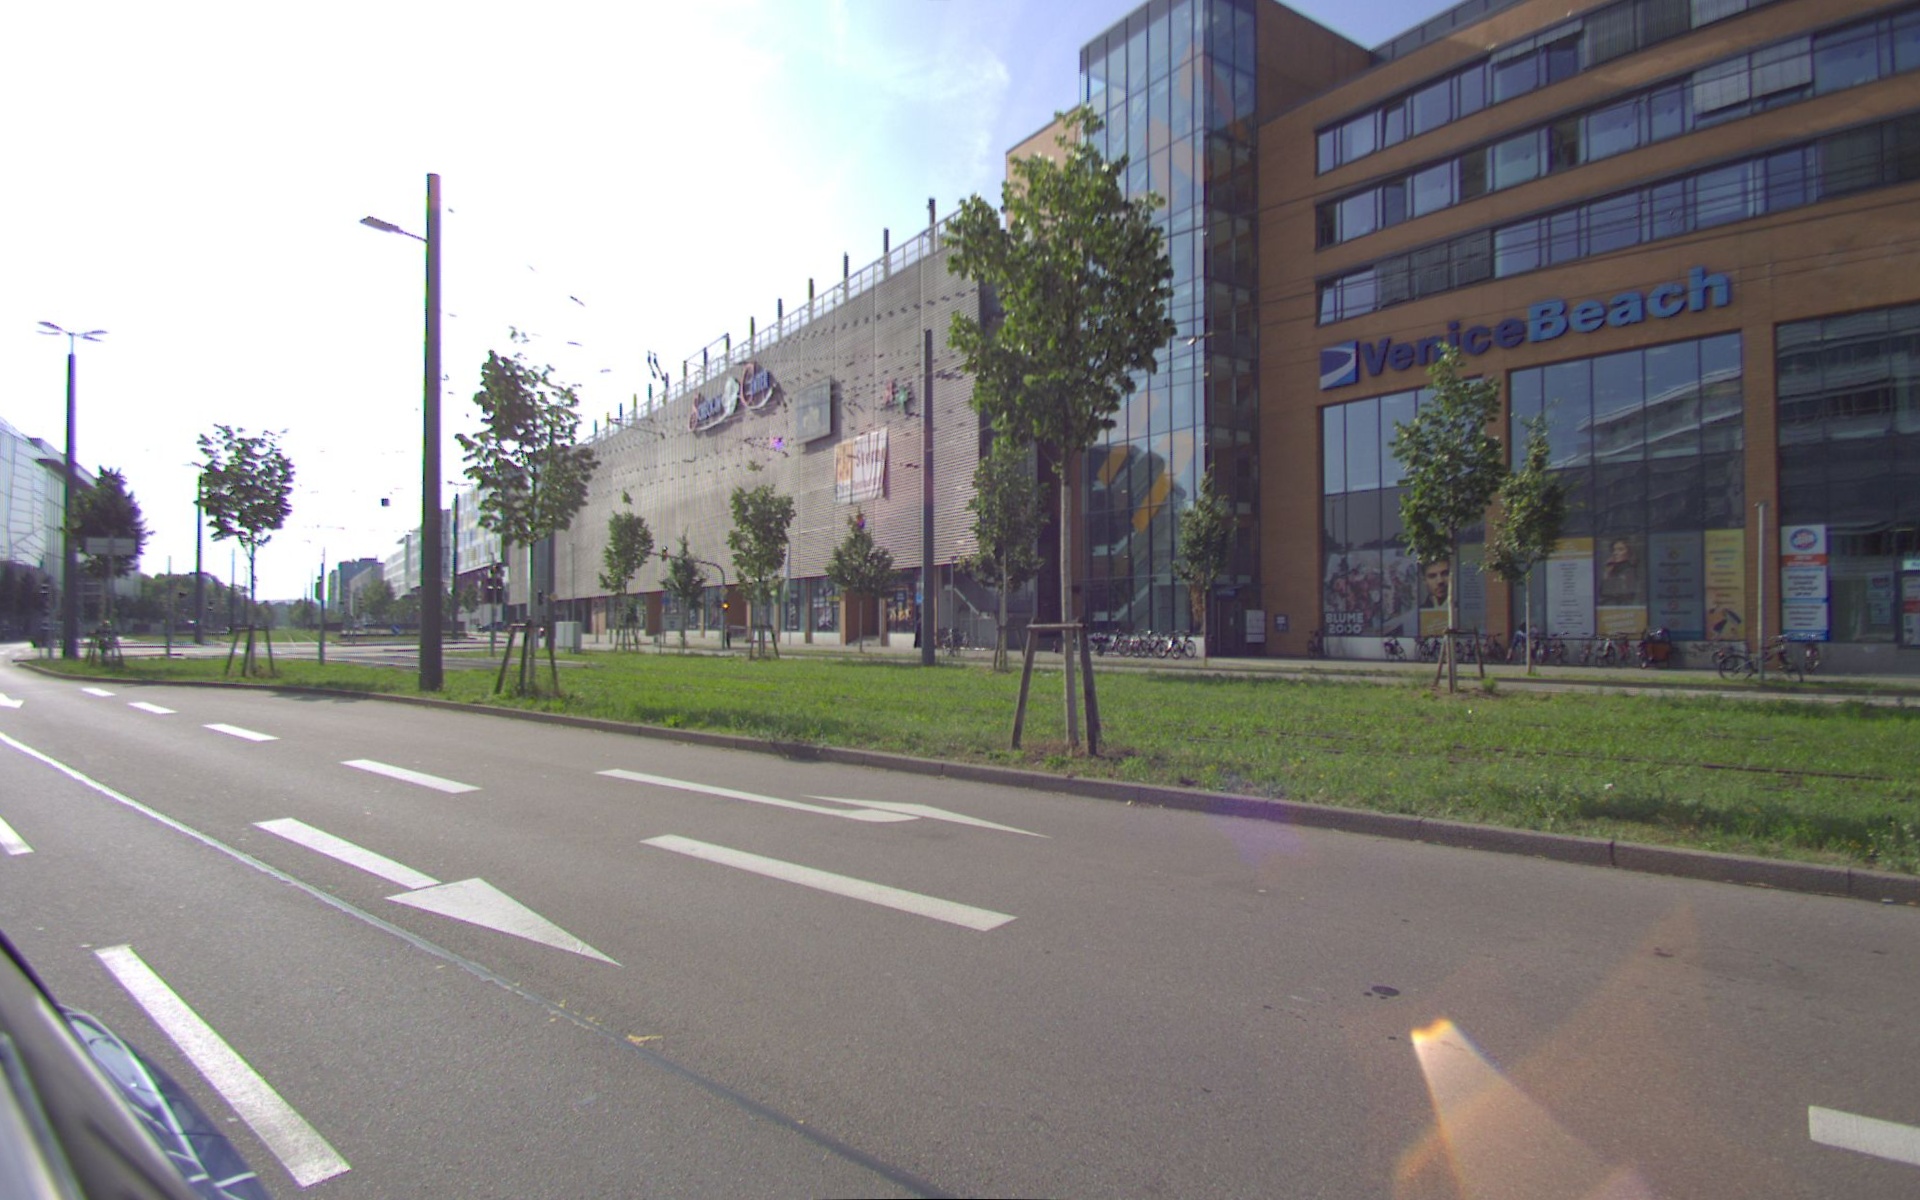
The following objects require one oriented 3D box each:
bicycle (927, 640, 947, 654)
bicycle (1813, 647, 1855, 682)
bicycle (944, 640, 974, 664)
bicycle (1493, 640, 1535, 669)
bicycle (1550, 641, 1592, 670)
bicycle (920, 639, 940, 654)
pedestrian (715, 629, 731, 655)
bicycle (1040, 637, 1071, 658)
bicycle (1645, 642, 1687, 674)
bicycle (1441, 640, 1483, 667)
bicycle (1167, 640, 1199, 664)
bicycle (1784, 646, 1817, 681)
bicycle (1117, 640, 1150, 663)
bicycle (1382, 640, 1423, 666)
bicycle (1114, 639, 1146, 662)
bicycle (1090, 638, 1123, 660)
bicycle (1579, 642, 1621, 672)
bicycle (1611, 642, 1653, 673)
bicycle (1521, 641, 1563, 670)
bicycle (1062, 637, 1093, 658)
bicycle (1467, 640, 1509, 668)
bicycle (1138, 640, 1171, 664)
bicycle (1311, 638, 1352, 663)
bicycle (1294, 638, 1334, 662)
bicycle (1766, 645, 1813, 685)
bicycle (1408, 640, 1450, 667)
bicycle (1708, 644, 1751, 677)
[{"bbox_3d":[-1.219,2.529,54.357,0.989,0.758,0.453,1,-2,-34],"label":"bicycle"},{"bbox_3d":[24.880,1.826,28.803,2.022,0.928,0.574,1,-2,-40],"label":"bicycle"},{"bbox_3d":[-0.073,2.339,45.991,0.438,0.995,2.171,1,-1,-26],"label":"bicycle"},{"bbox_3d":[19.232,1.885,35.143,2.022,0.928,0.574,1,-2,-40],"label":"bicycle"},{"bbox_3d":[20.438,1.848,33.831,2.022,0.928,0.574,1,-2,-40],"label":"bicycle"},{"bbox_3d":[-1.609,2.529,54.967,0.989,0.758,0.453,1,-2,-34],"label":"bicycle"},{"bbox_3d":[-14.350,2.541,61.303,0.751,1.591,0.591,1,-2,-39],"label":"pedestrian"},{"bbox_3d":[4.484,2.225,47.406,1.558,0.947,0.412,1,-2,-36],"label":"bicycle"},{"bbox_3d":[22.251,1.819,31.890,2.022,0.928,0.574,1,-2,-40],"label":"bicycle"},{"bbox_3d":[18.080,1.909,36.413,2.022,0.928,0.574,1,-2,-40],"label":"bicycle"},{"bbox_3d":[9.266,2.145,41.963,1.559,0.947,0.412,1,-2,-39],"label":"bicycle"},{"bbox_3d":[24.377,1.823,29.342,2.022,0.928,0.381,1,-2,-40],"label":"bicycle"},{"bbox_3d":[7.441,2.212,43.359,1.558,0.947,0.412,1,-2,-36],"label":"bicycle"},{"bbox_3d":[16.641,1.968,38.031,2.022,0.928,0.574,1,-2,-40],"label":"bicycle"},{"bbox_3d":[7.463,2.207,44.324,1.558,0.947,0.412,1,-2,-36],"label":"bicycle"},{"bbox_3d":[6.559,2.191,45.389,1.558,0.947,0.474,1,-2,-36],"label":"bicycle"},{"bbox_3d":[21.005,1.845,33.182,2.022,0.928,0.574,1,-2,-40],"label":"bicycle"},{"bbox_3d":[21.631,1.848,32.546,2.022,0.928,0.574,1,-2,-40],"label":"bicycle"},{"bbox_3d":[19.826,1.889,34.439,2.022,0.928,0.574,1,-2,-40],"label":"bicycle"},{"bbox_3d":[5.445,2.197,46.829,1.558,0.947,0.412,1,-2,-38],"label":"bicycle"},{"bbox_3d":[18.686,1.899,35.784,2.022,0.928,0.574,1,-2,-40],"label":"bicycle"},{"bbox_3d":[8.095,2.156,42.092,1.558,0.947,0.412,1,-2,-36],"label":"bicycle"},{"bbox_3d":[14.825,1.998,40.351,2.022,0.928,0.574,1,-2,-40],"label":"bicycle"},{"bbox_3d":[14.331,1.996,40.900,2.022,0.928,0.574,1,-2,-40],"label":"bicycle"},{"bbox_3d":[21.029,1.630,25.651,1.655,0.914,0.710,1,-1,-43],"label":"bicycle"},{"bbox_3d":[17.289,1.968,37.298,2.022,0.928,0.574,1,-2,-40],"label":"bicycle"},{"bbox_3d":[23.210,1.809,30.506,2.022,0.928,0.574,1,-2,-40],"label":"bicycle"}]
